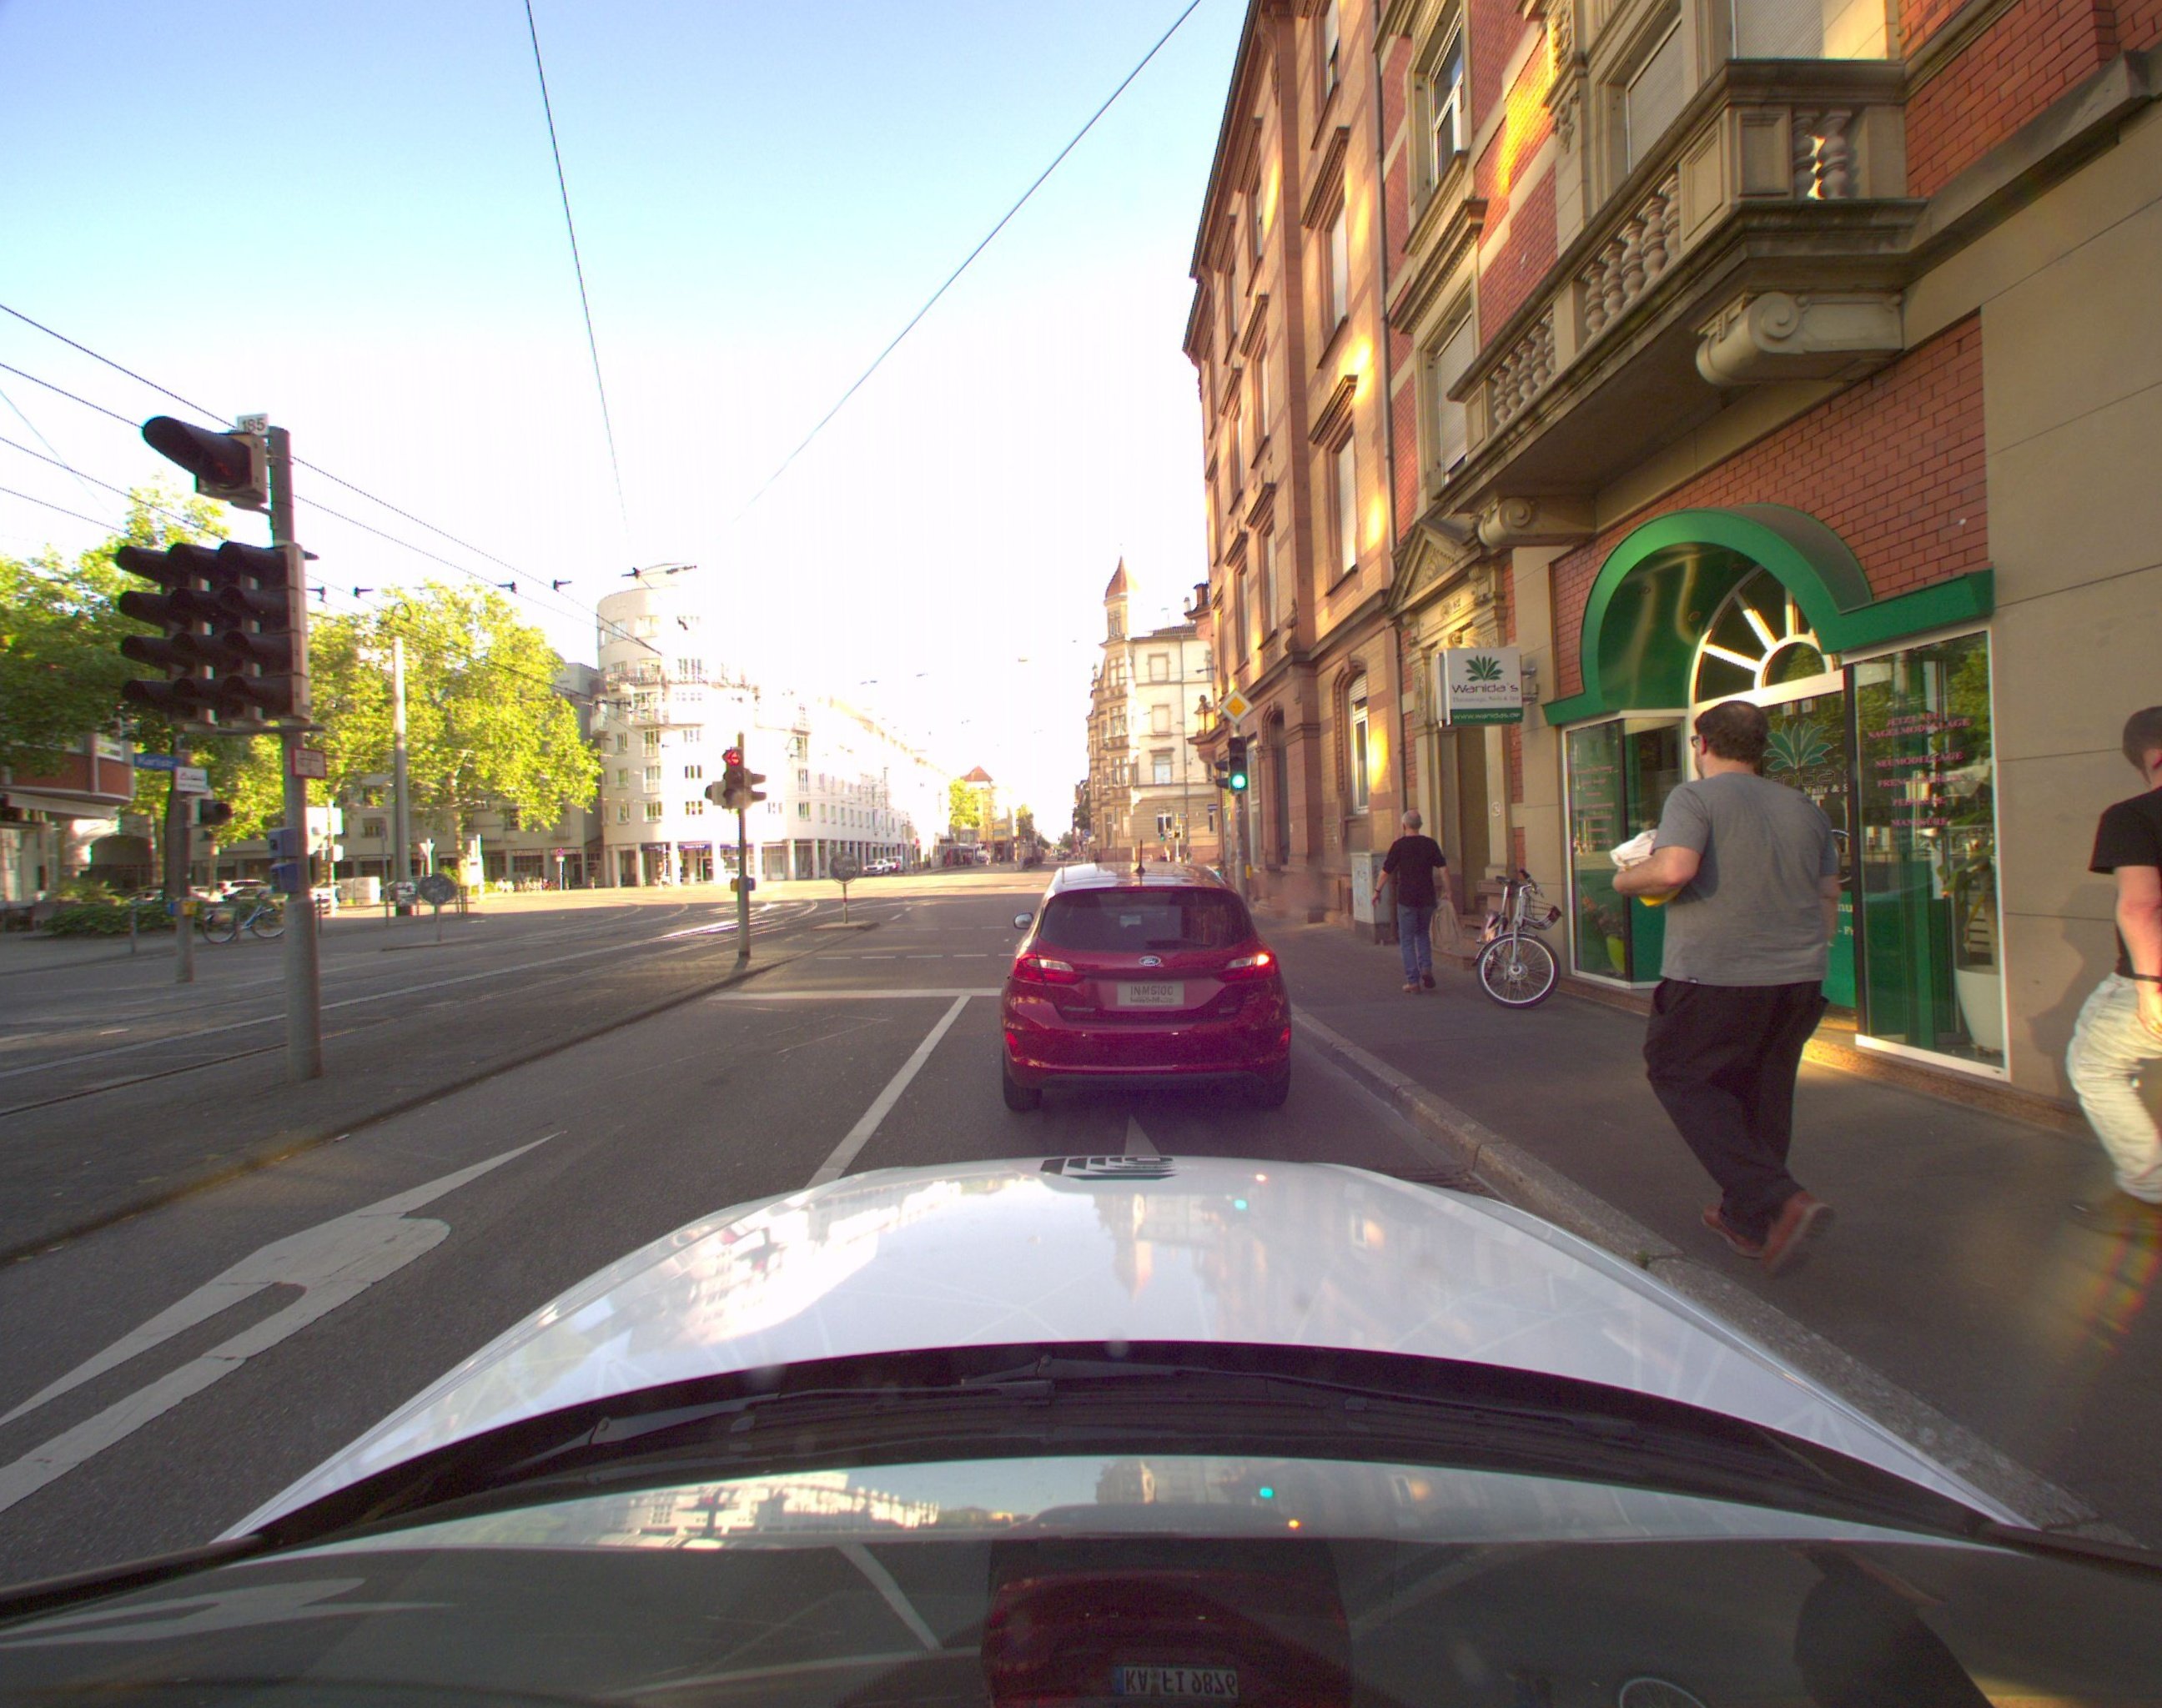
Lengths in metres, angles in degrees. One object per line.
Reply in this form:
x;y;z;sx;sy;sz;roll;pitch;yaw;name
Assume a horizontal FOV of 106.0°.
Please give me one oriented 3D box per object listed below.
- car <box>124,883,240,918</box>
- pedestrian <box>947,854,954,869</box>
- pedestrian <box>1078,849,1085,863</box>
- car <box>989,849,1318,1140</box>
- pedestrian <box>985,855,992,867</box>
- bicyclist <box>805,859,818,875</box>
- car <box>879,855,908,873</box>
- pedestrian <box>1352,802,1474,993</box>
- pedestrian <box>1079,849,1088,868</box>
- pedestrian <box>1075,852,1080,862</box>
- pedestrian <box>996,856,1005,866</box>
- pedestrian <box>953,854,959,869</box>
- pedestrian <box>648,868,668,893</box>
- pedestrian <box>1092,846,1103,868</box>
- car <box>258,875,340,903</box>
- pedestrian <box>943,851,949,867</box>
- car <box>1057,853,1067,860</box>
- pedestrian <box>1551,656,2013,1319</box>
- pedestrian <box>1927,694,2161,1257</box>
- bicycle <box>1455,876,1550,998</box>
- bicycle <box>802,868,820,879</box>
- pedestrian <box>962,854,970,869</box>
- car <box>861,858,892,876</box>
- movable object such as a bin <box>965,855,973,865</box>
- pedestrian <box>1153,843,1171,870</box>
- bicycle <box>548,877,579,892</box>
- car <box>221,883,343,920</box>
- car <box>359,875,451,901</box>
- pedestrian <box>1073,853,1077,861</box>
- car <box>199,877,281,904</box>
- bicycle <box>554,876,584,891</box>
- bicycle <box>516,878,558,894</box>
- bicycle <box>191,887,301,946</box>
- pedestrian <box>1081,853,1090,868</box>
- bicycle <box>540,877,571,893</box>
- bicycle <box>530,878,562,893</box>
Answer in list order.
-43.090;2.243;39.060;4.408;1.421;1.899;-3;0;15;car
-15.582;0.897;97.160;0.699;1.691;0.666;-2;-1;-25;pedestrian
0.101;0.219;106.746;0.712;1.774;0.772;-5;1;-5;pedestrian
0.410;0.720;5.997;1.686;1.495;3.581;0;0;1;car
-14.858;1.149;130.336;0.880;1.904;0.929;-2;-1;-17;pedestrian
-24.347;1.170;73.484;0.838;1.467;0.896;-2;0;0;bicyclist
-20.389;1.070;88.884;1.988;1.837;5.343;-2;0;-2;car
3.200;0.404;7.916;0.773;1.723;0.754;-3;0;-1;pedestrian
0.205;0.416;75.603;0.716;1.721;0.795;-3;-1;-3;pedestrian
-0.605;0.500;140.509;0.712;1.774;0.772;-5;1;-5;pedestrian
-16.389;1.449;165.641;1.347;1.904;1.465;-2;-1;-17;pedestrian
-15.529;0.916;101.248;0.694;1.904;0.671;-2;-1;-4;pedestrian
-29.362;1.826;56.551;0.863;1.681;0.698;-3;2;7;pedestrian
1.422;0.256;71.620;0.799;1.824;0.797;-4;1;-2;pedestrian
-53.277;2.342;55.570;1.790;1.715;3.996;-2;0;-3;car
-15.087;0.553;90.961;0.597;1.691;0.613;-2;-1;-1;pedestrian
-4.147;0.613;177.172;1.988;1.449;3.998;-1;0;-1;car
2.274;0.385;2.763;0.819;1.894;0.754;-3;0;-1;pedestrian
3.663;0.358;2.734;0.773;1.723;0.754;-3;0;-1;pedestrian
3.924;0.735;7.652;0.342;0.996;1.243;-3;0;8;bicycle
-24.330;1.773;73.470;0.838;0.927;2.264;-2;0;0;bicycle
-14.553;0.924;103.130;0.930;1.904;0.880;-2;-1;-4;pedestrian
-20.304;1.237;81.090;1.988;1.620;4.507;-2;0;-2;car
-15.095;0.796;109.737;0.935;1.286;0.933;-2;-1;-4;movable object such as a bin
5.622;0.180;56.337;1.021;1.807;1.081;-2;0;-5;pedestrian
-41.923;2.450;65.971;1.935;1.107;0.819;-2;0;1;bicycle
-36.343;2.148;37.068;4.408;1.421;1.899;-3;0;15;car
-44.458;2.211;53.619;4.423;1.421;1.892;-3;0;2;car
-1.278;0.646;173.165;0.748;1.661;0.650;0;-1;1;pedestrian
-60.601;2.585;58.776;1.790;1.715;3.996;-2;0;-3;car
-42.008;2.445;66.836;1.935;1.107;0.819;-2;0;1;bicycle
-41.442;2.454;62.118;2.440;1.107;0.933;-2;0;-15;bicycle
-19.782;1.455;19.351;0.578;1.235;1.859;-1;0;4;bicycle
0.402;0.595;74.577;0.716;1.331;0.795;-3;-1;-3;pedestrian
-41.797;2.456;64.744;1.933;1.107;0.820;-2;0;3;bicycle
-41.862;2.466;63.755;1.933;1.107;0.820;-2;0;3;bicycle
